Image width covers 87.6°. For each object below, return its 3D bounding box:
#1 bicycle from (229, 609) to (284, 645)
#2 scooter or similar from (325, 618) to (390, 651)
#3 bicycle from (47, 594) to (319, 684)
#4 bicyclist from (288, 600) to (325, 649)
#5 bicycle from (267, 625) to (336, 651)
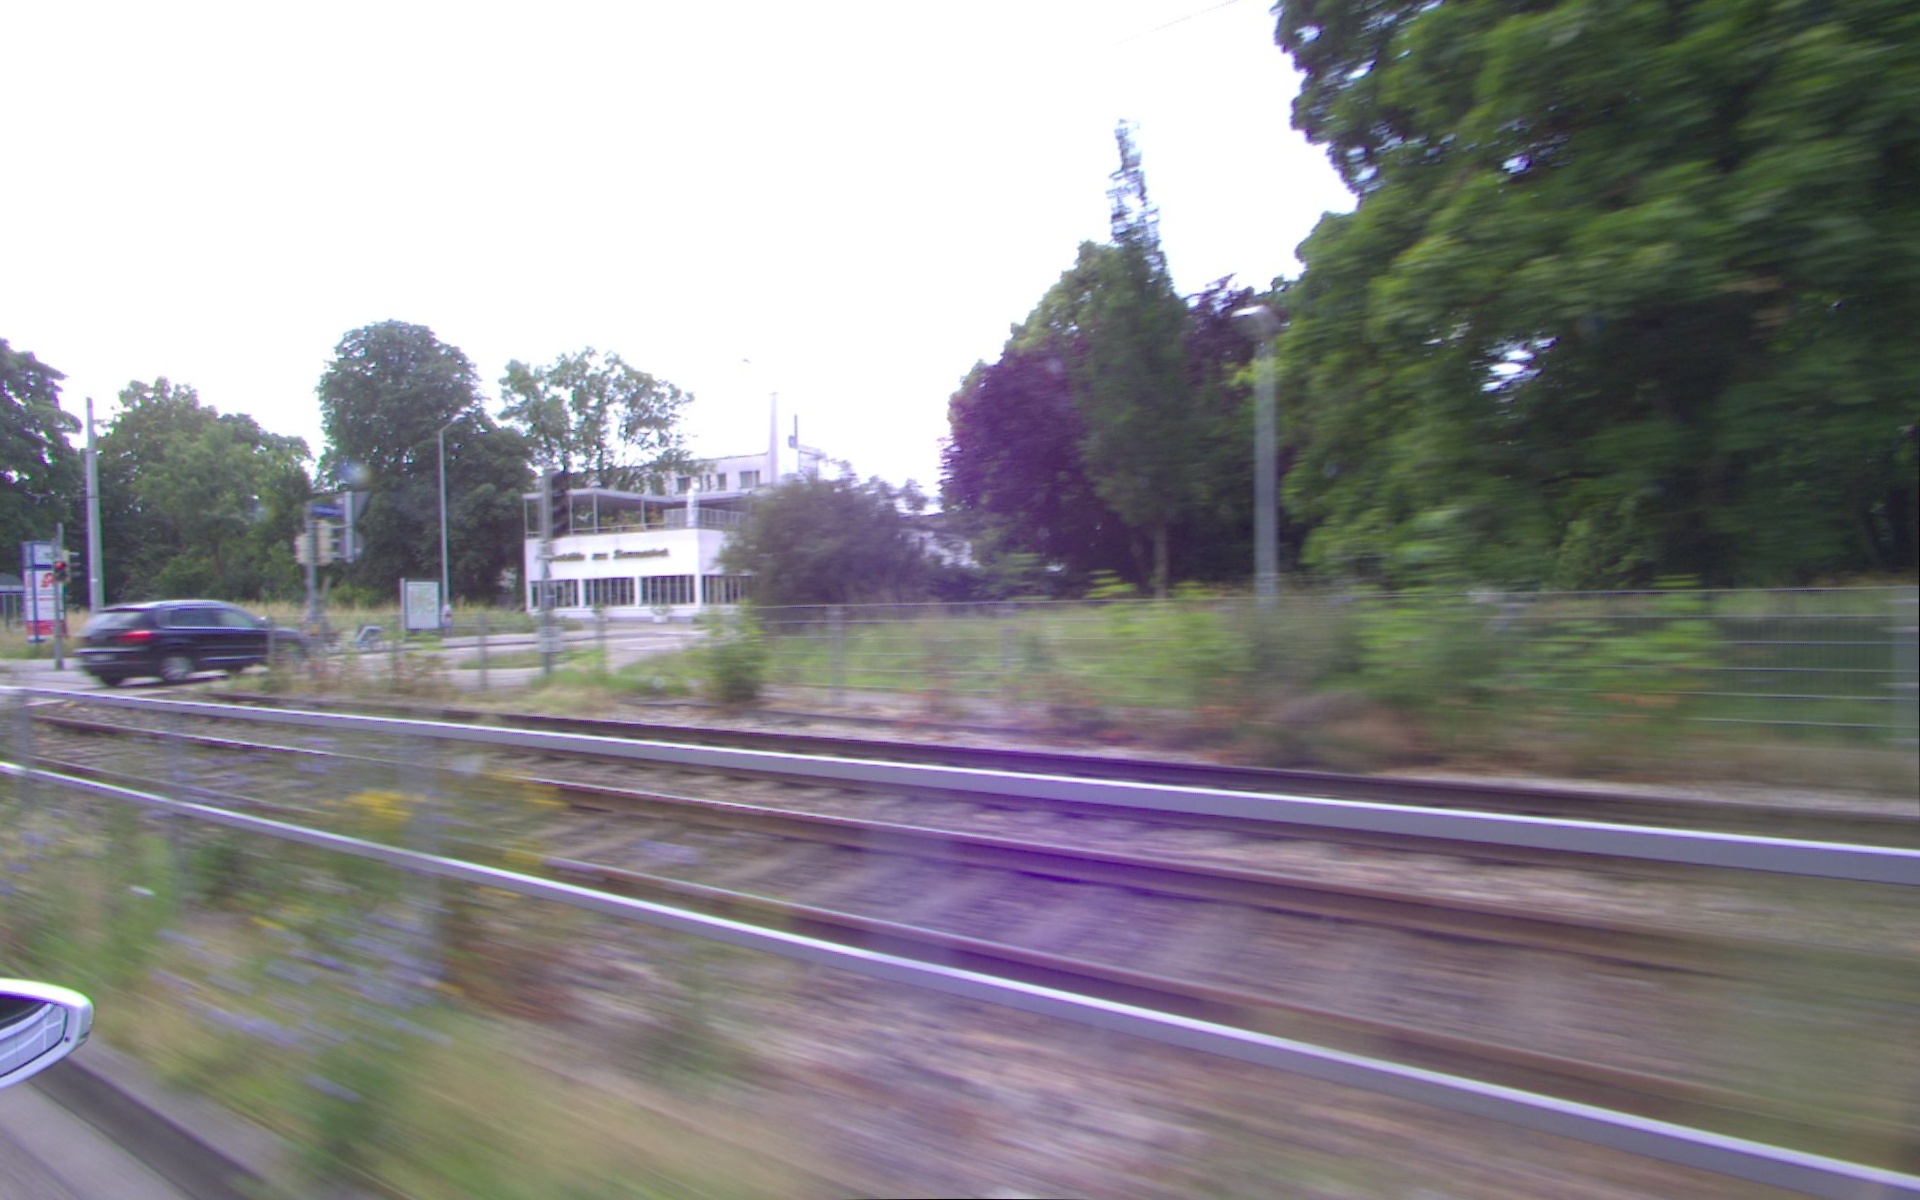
[{"bbox_3d":[-24.047,0.912,34.245,0.688,1.148,1.659,0,2,-1],"label":"bicycle"},{"bbox_3d":[-19.610,1.102,32.621,0.950,0.992,1.569,-1,1,36],"label":"scooter or similar"},{"bbox_3d":[-16.110,0.751,21.082,1.963,1.697,4.204,-1,0,13],"label":"bicycle"},{"bbox_3d":[-20.587,0.768,31.548,0.449,1.495,0.836,-1,1,35],"label":"bicyclist"},{"bbox_3d":[-20.652,1.186,31.435,0.548,0.775,1.717,-1,-1,35],"label":"bicycle"}]
